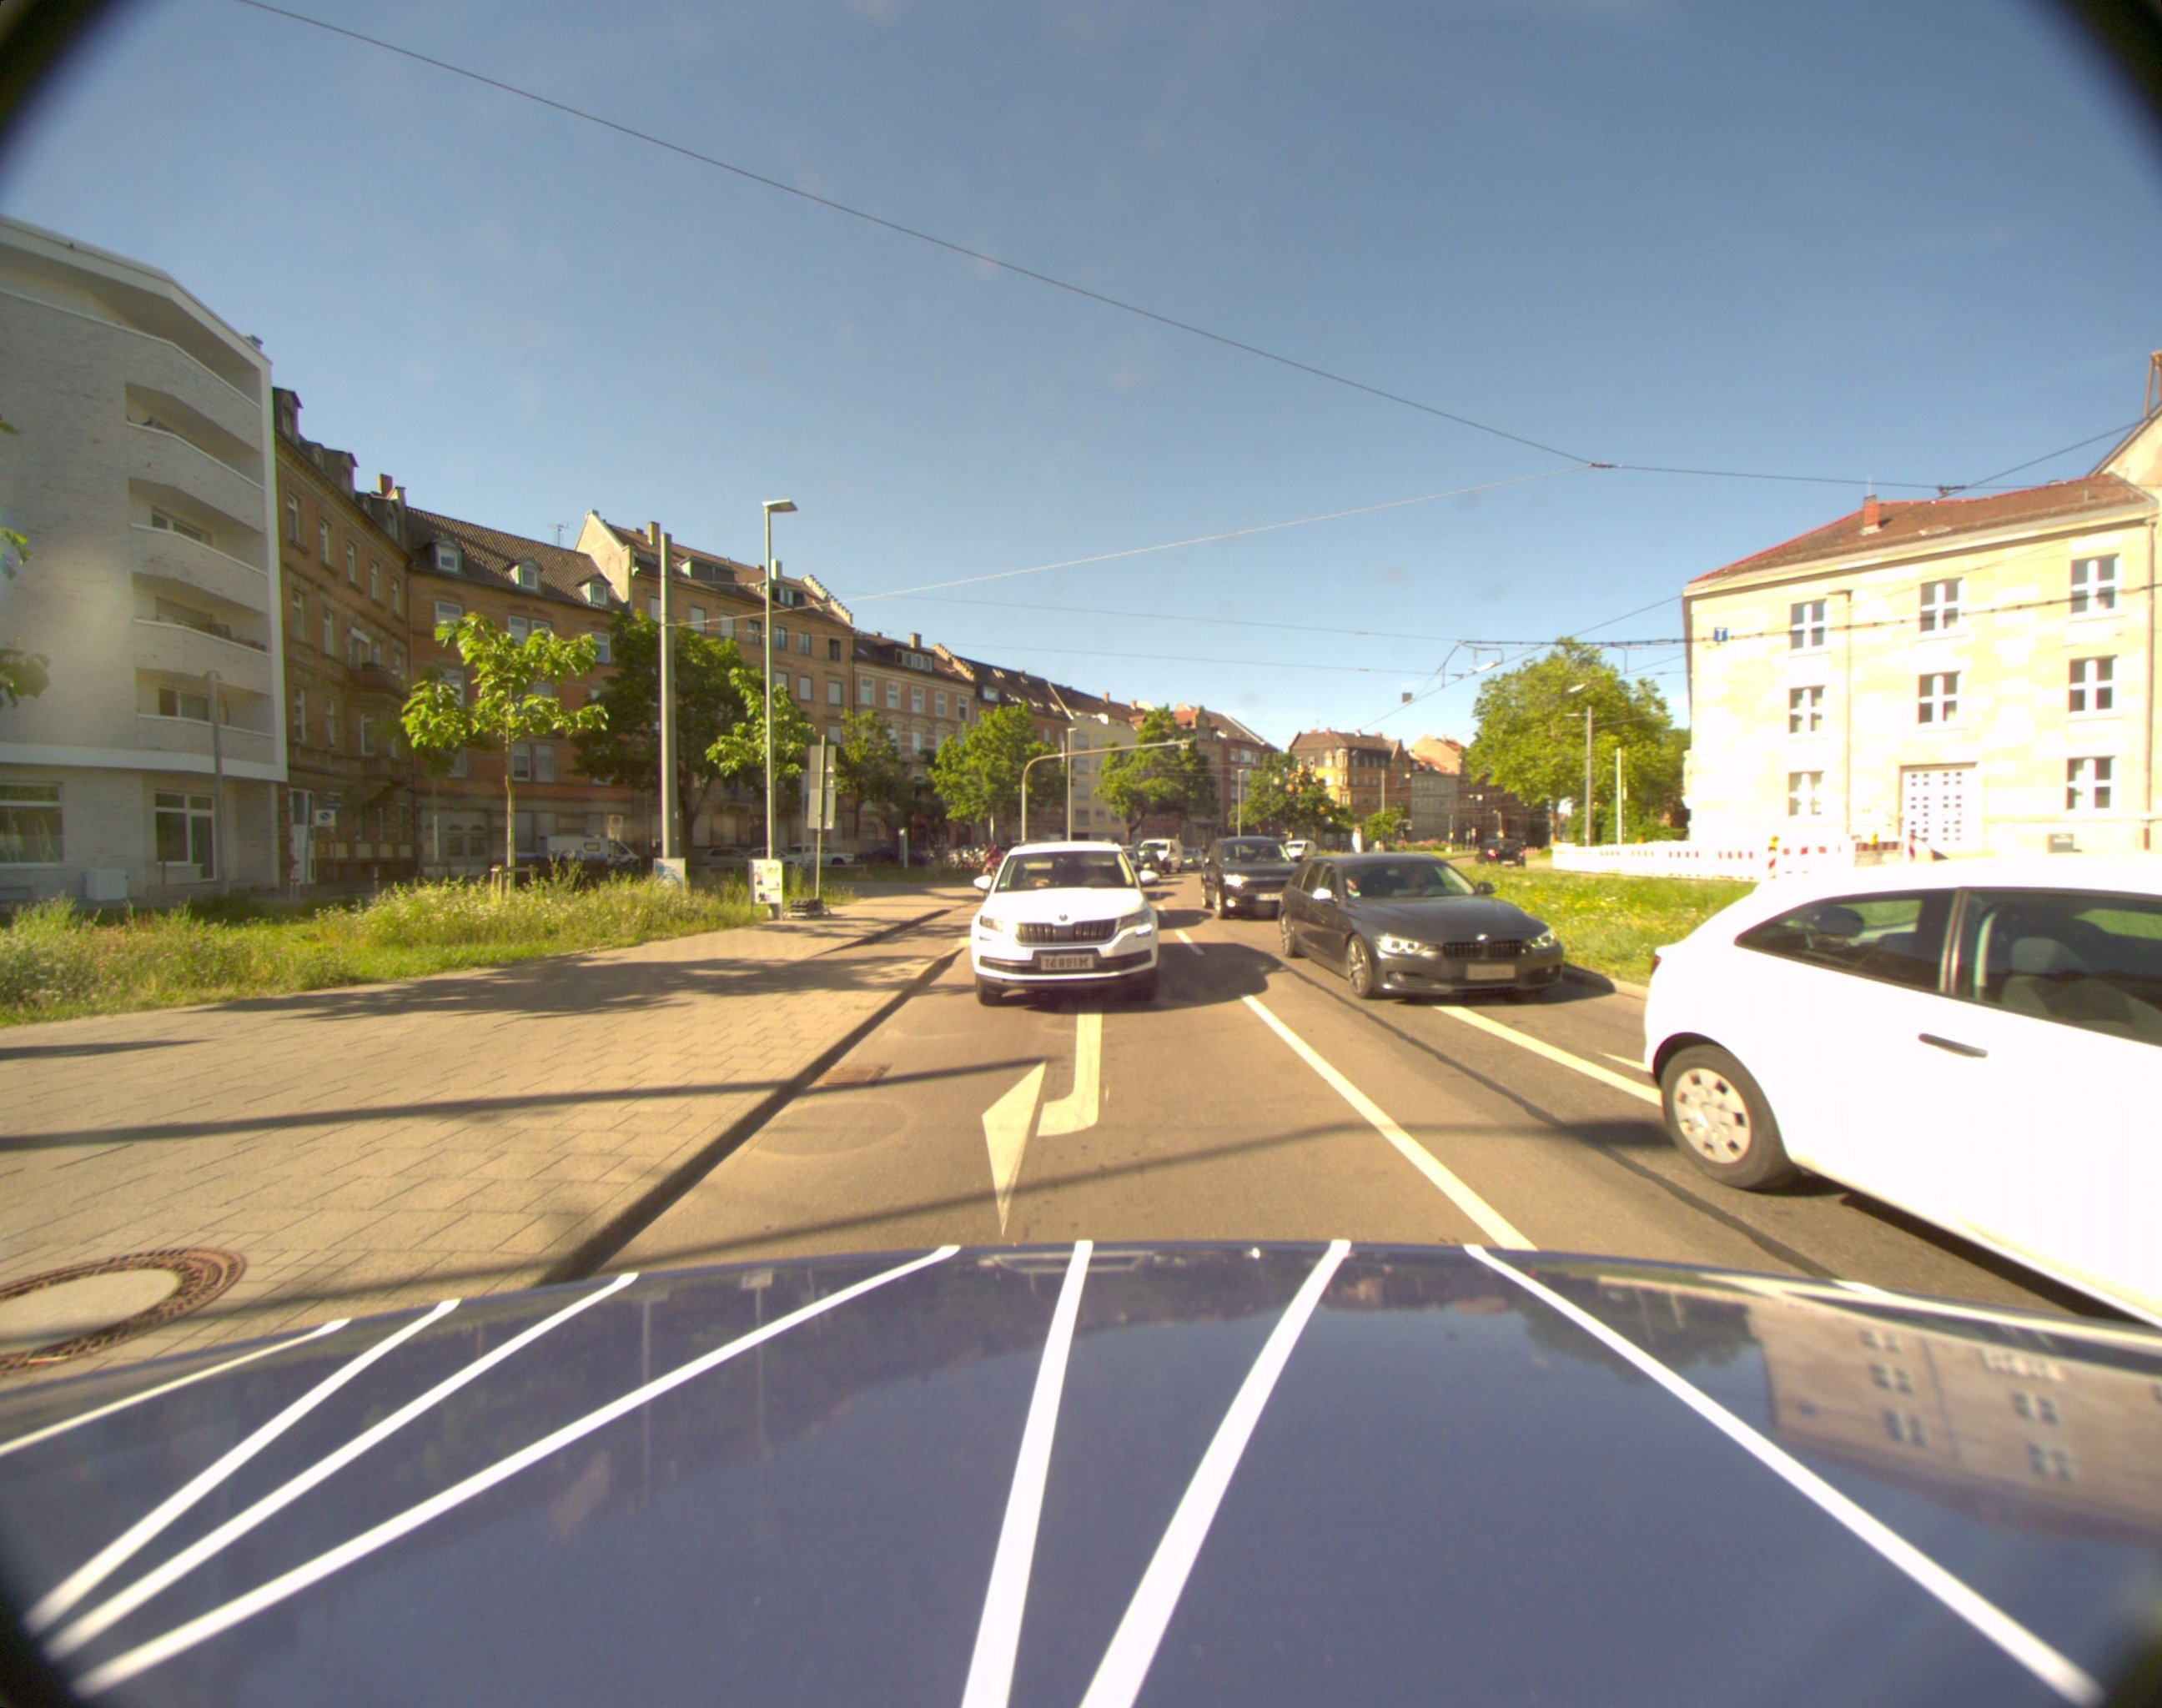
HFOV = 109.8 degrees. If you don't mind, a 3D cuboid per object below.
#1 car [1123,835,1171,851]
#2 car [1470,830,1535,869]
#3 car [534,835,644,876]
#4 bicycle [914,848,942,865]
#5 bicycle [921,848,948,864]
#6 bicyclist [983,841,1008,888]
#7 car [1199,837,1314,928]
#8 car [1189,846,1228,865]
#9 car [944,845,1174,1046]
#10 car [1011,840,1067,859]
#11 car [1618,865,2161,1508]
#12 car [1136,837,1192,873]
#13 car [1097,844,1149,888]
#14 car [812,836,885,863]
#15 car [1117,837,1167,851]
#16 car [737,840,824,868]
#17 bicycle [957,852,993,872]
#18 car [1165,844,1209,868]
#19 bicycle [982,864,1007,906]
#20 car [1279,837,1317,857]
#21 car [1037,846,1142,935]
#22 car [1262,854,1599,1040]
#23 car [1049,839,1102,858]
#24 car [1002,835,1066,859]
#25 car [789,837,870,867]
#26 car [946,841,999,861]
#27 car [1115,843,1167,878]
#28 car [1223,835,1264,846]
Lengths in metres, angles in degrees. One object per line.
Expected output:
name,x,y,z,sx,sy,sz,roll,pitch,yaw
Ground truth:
car,6.505,-1.086,74.435,4.393,1.453,2.002,0,1,12
car,20.227,-0.233,36.624,1.767,1.740,4.004,0,1,14
car,-27.141,0.032,42.031,1.994,2.100,4.651,0,1,40
bicycle,-9.676,0.148,48.006,1.757,1.018,0.453,0,1,26
bicycle,-9.487,0.119,49.064,1.757,1.018,0.453,0,1,26
bicyclist,-2.570,0.315,22.880,0.696,1.370,0.737,1,3,-5
car,3.664,0.501,16.593,1.768,1.675,4.328,-2,1,4
car,9.570,0.090,56.695,1.826,1.377,4.662,0,1,24
car,-0.155,0.736,8.447,1.873,1.621,4.337,-1,1,1
car,-3.404,-0.375,61.966,4.397,1.498,2.000,-1,1,2
car,3.444,0.847,1.755,1.668,1.422,3.835,-4,1,1
car,4.856,0.013,43.981,1.870,1.970,4.662,0,1,24
car,1.633,0.417,29.720,1.873,1.547,4.000,-1,1,3
car,-14.801,-0.280,48.562,3.996,1.652,2.000,-1,1,3
car,5.752,-0.930,71.578,4.393,1.227,2.002,0,1,12
car,-16.606,0.011,42.152,3.996,1.456,2.000,-1,1,3
bicycle,-5.581,0.414,39.857,1.764,1.018,0.567,-1,1,-26
car,6.948,0.125,49.580,1.870,1.439,3.914,0,1,24
bicycle,-2.570,0.896,22.776,0.696,1.099,2.009,1,3,-6
car,17.478,-0.567,61.080,1.869,1.547,4.007,0,1,32
car,0.178,0.635,15.662,1.873,1.547,3.999,-1,1,1
car,3.445,0.783,8.581,1.840,1.422,4.483,-2,1,2
car,-0.464,-0.473,64.354,4.397,1.453,2.000,-1,1,2
car,-3.663,-0.533,59.185,4.789,1.761,1.732,-1,1,2
car,-14.662,-0.147,44.434,3.996,1.652,2.000,-1,1,3
car,-7.727,-0.205,54.298,3.462,1.324,1.732,-1,1,3
car,3.042,0.297,37.779,1.871,1.605,3.912,0,1,15
car,18.716,-1.544,87.715,4.397,1.203,2.000,-1,1,2
